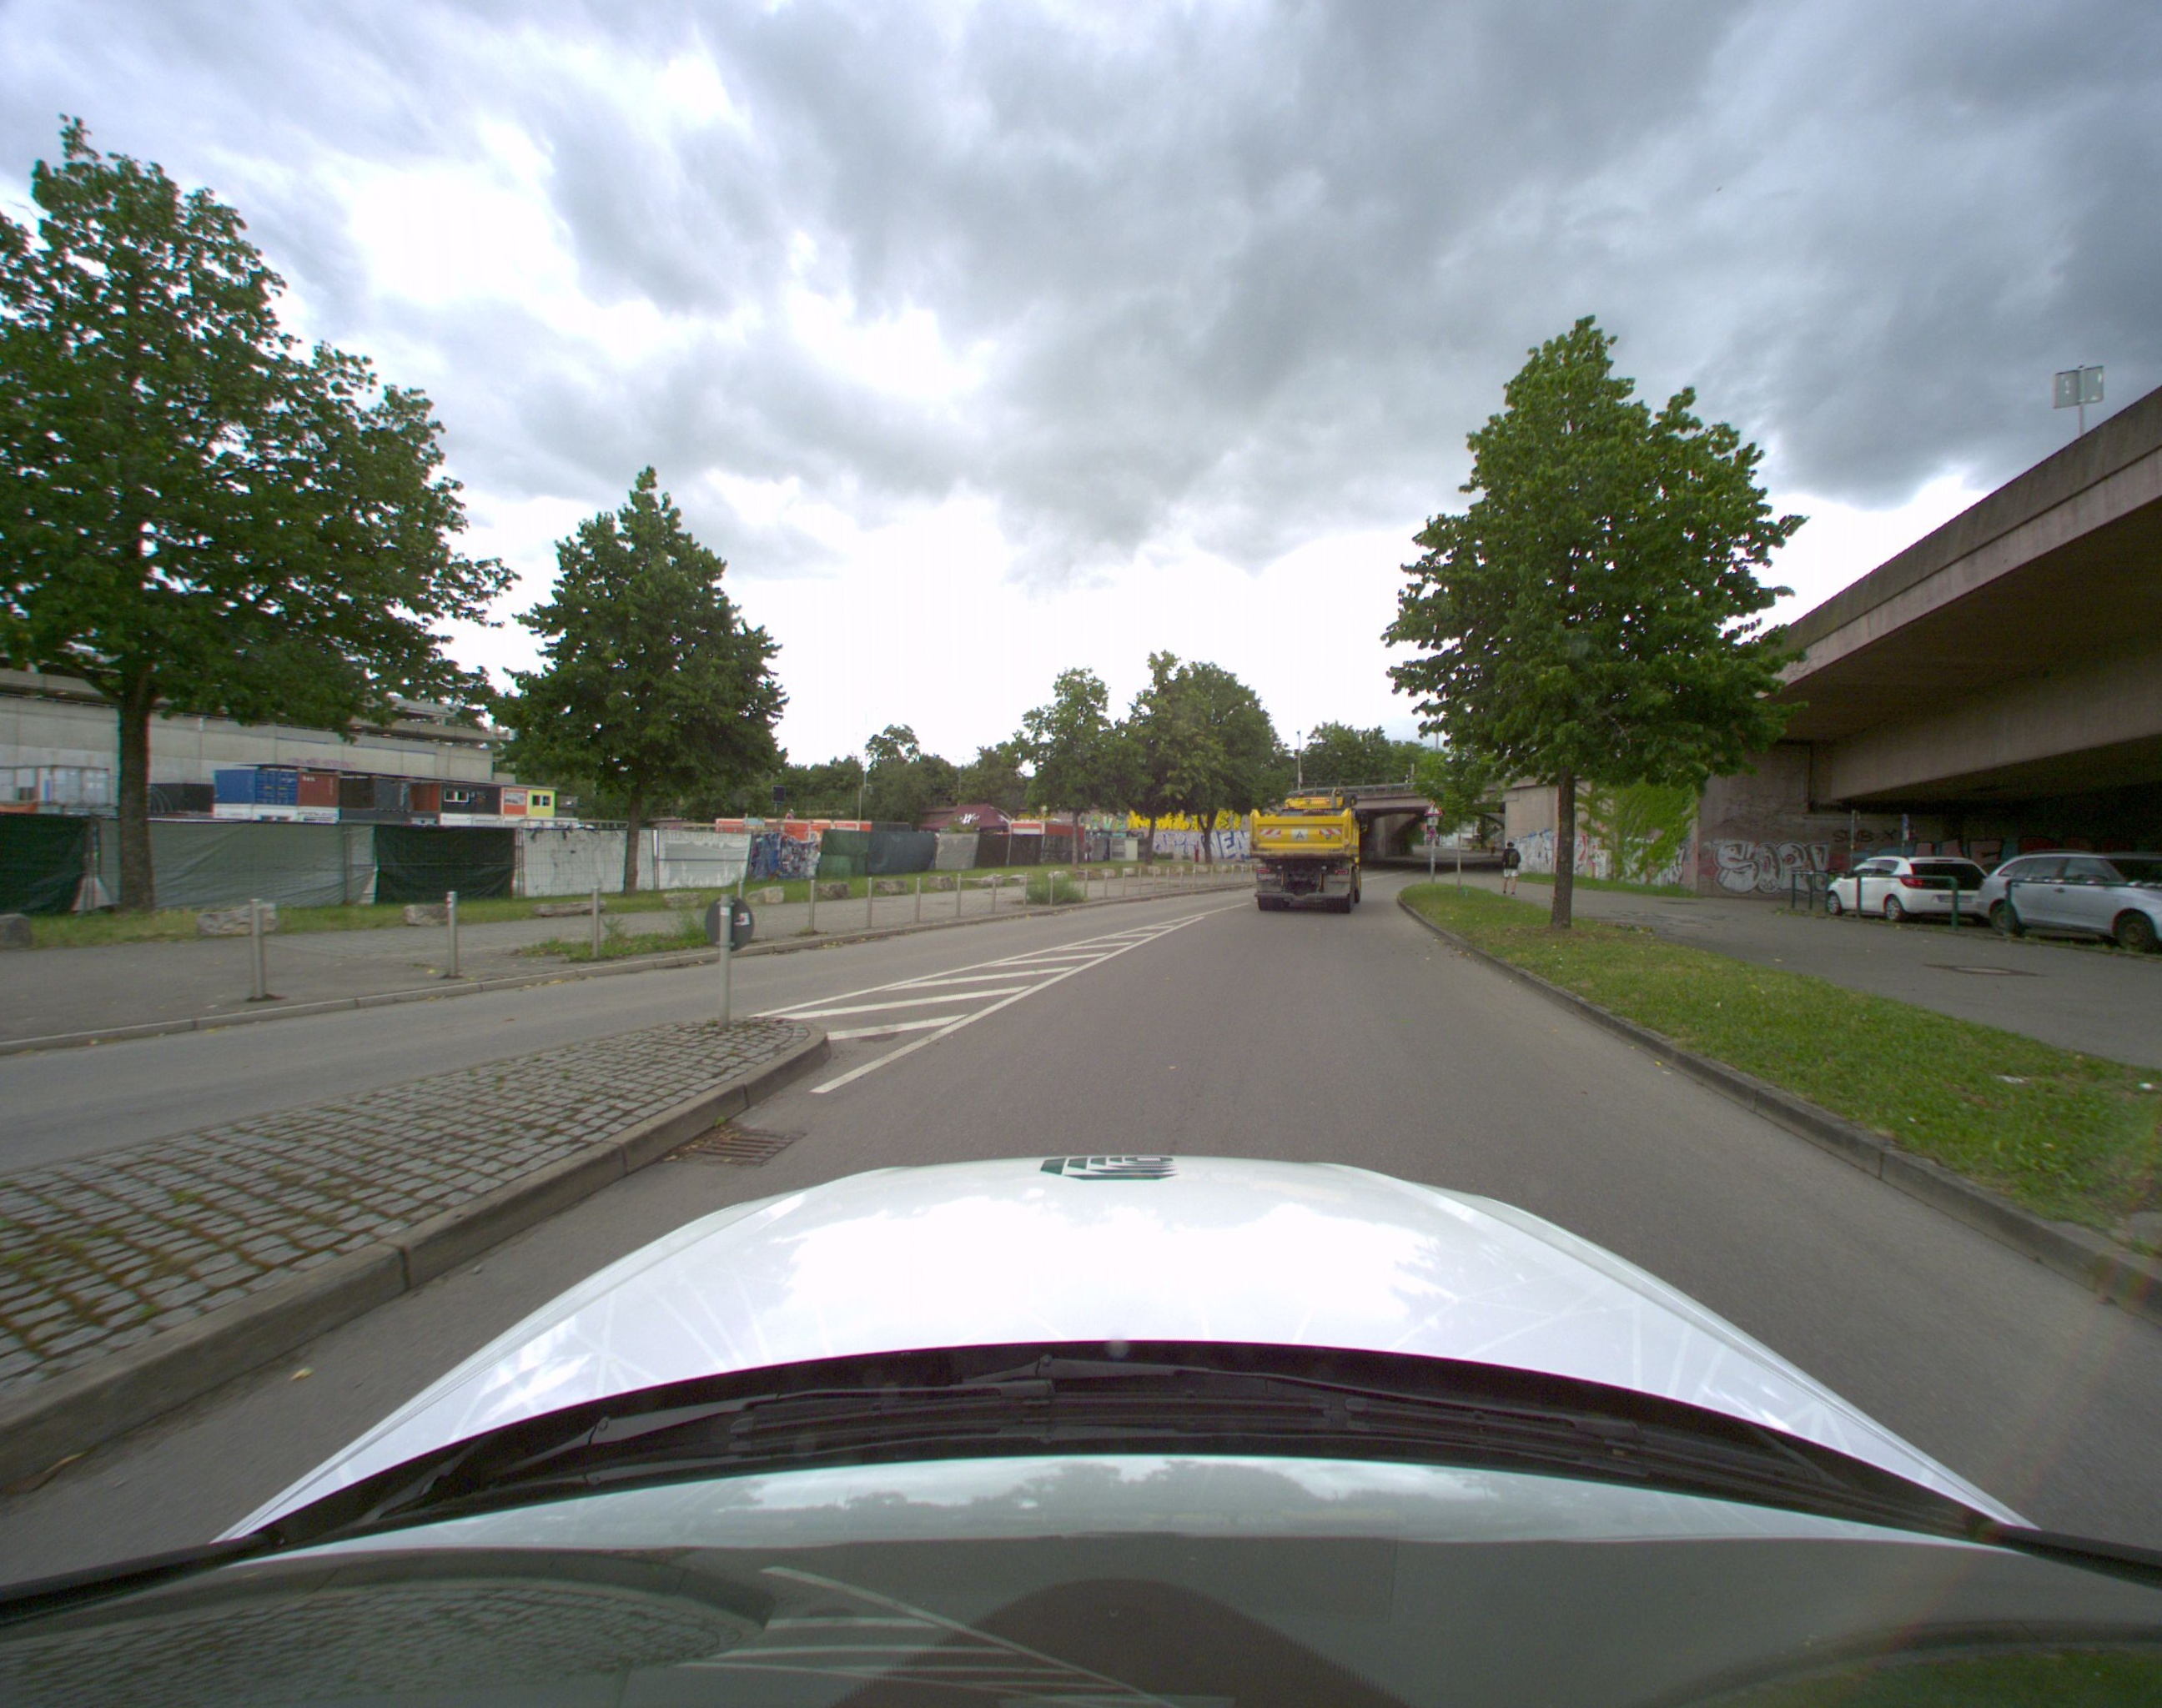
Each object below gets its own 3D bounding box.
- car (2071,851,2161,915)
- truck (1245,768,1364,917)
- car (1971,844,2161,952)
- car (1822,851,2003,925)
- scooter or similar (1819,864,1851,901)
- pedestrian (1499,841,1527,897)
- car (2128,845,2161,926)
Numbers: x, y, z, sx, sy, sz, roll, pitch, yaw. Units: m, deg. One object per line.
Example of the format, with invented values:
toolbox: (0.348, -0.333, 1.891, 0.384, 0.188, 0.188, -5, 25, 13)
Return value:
car: (27.319, 0.732, 19.769, 3.821, 1.478, 1.765, 2, 1, 15)
truck: (6.918, -0.336, 24.340, 2.735, 3.698, 7.919, 1, 1, 20)
car: (16.595, 0.630, 12.852, 1.599, 1.535, 4.088, 2, 1, 18)
car: (18.448, 0.678, 18.272, 1.560, 1.440, 3.395, 2, 1, 22)
scooter or similar: (23.783, 0.890, 25.676, 1.685, 1.129, 0.267, 0, 1, -31)
pedestrian: (15.122, 0.502, 28.508, 0.729, 1.907, 0.829, 1, 0, 19)
car: (23.903, 0.699, 15.971, 3.821, 1.638, 1.765, 2, 1, 15)
